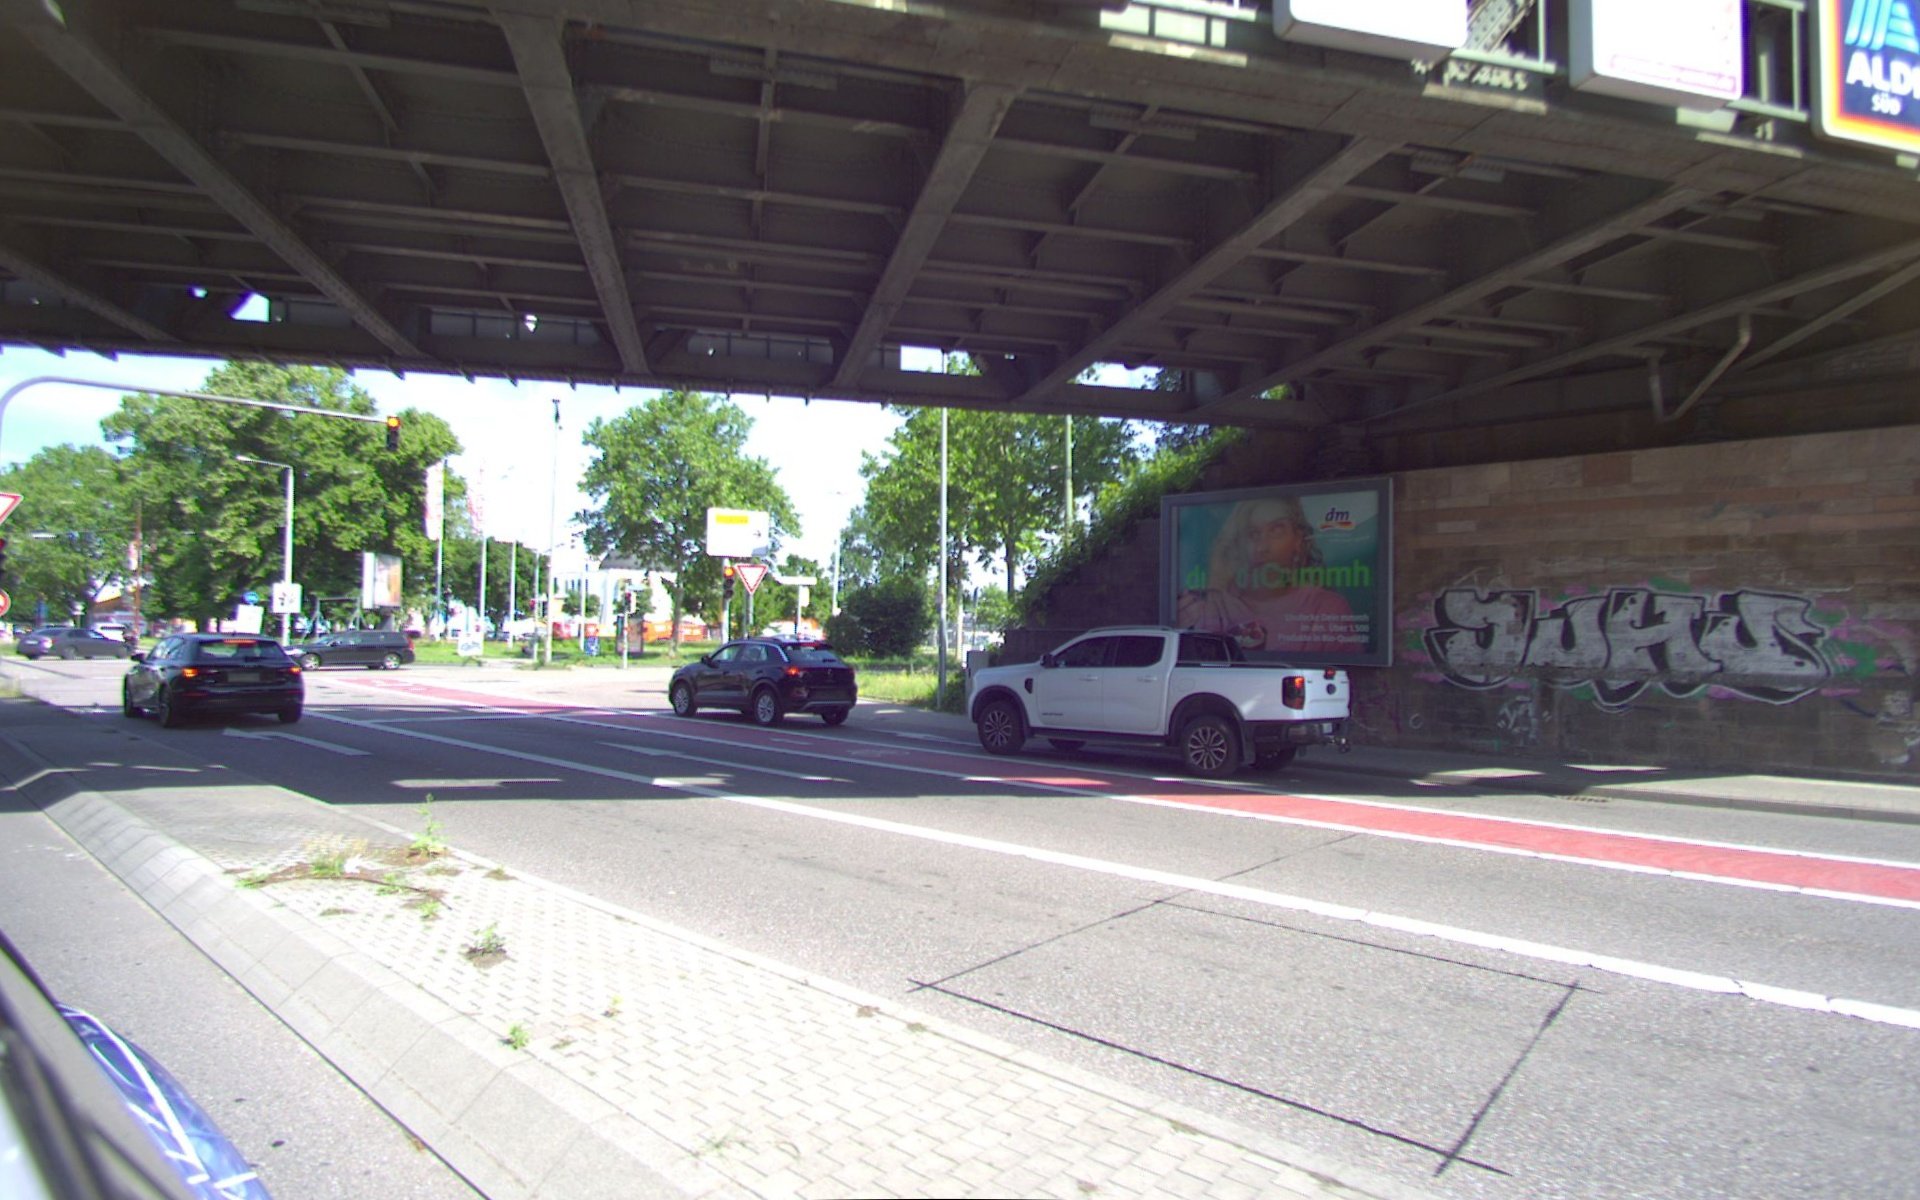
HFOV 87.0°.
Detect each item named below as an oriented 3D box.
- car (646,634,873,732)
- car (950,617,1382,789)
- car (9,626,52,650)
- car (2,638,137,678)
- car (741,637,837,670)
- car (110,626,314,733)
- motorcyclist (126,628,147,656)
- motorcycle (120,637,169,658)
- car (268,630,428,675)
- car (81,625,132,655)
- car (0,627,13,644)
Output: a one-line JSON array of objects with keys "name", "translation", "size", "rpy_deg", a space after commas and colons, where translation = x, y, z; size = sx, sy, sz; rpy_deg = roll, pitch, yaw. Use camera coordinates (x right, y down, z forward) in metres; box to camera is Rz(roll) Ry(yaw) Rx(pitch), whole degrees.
[{"name": "car", "translation": [-3.829, 1.463, 18.962], "size": [4.384, 1.608, 1.853], "rpy_deg": [-1, -3, 41]}, {"name": "car", "translation": [2.577, 1.241, 13.675], "size": [5.447, 1.875, 1.973], "rpy_deg": [-1, -5, 41]}, {"name": "car", "translation": [-72.310, 2.928, 78.723], "size": [3.821, 1.735, 1.904], "rpy_deg": [-1, -1, 39]}, {"name": "car", "translation": [-39.718, 2.586, 45.314], "size": [1.801, 1.654, 4.672], "rpy_deg": [1, -3, 2]}, {"name": "car", "translation": [-8.199, 2.543, 48.415], "size": [4.384, 1.426, 1.708], "rpy_deg": [2, -3, -14]}, {"name": "car", "translation": [-12.049, 1.188, 16.209], "size": [4.119, 1.458, 1.762], "rpy_deg": [-1, -3, 41]}, {"name": "motorcyclist", "translation": [-44.826, 2.272, 55.064], "size": [0.628, 1.540, 0.638], "rpy_deg": [-1, -2, 21]}, {"name": "motorcycle", "translation": [-44.788, 2.591, 55.597], "size": [0.773, 1.092, 1.970], "rpy_deg": [-1, -2, 20]}, {"name": "car", "translation": [-23.085, 1.986, 38.339], "size": [1.702, 1.585, 4.860], "rpy_deg": [-1, -3, 40]}, {"name": "car", "translation": [-53.186, 2.463, 63.048], "size": [3.632, 1.735, 1.801], "rpy_deg": [-1, -1, 39]}, {"name": "car", "translation": [-89.165, 3.286, 93.527], "size": [3.821, 1.527, 1.904], "rpy_deg": [-1, -1, 39]}]
